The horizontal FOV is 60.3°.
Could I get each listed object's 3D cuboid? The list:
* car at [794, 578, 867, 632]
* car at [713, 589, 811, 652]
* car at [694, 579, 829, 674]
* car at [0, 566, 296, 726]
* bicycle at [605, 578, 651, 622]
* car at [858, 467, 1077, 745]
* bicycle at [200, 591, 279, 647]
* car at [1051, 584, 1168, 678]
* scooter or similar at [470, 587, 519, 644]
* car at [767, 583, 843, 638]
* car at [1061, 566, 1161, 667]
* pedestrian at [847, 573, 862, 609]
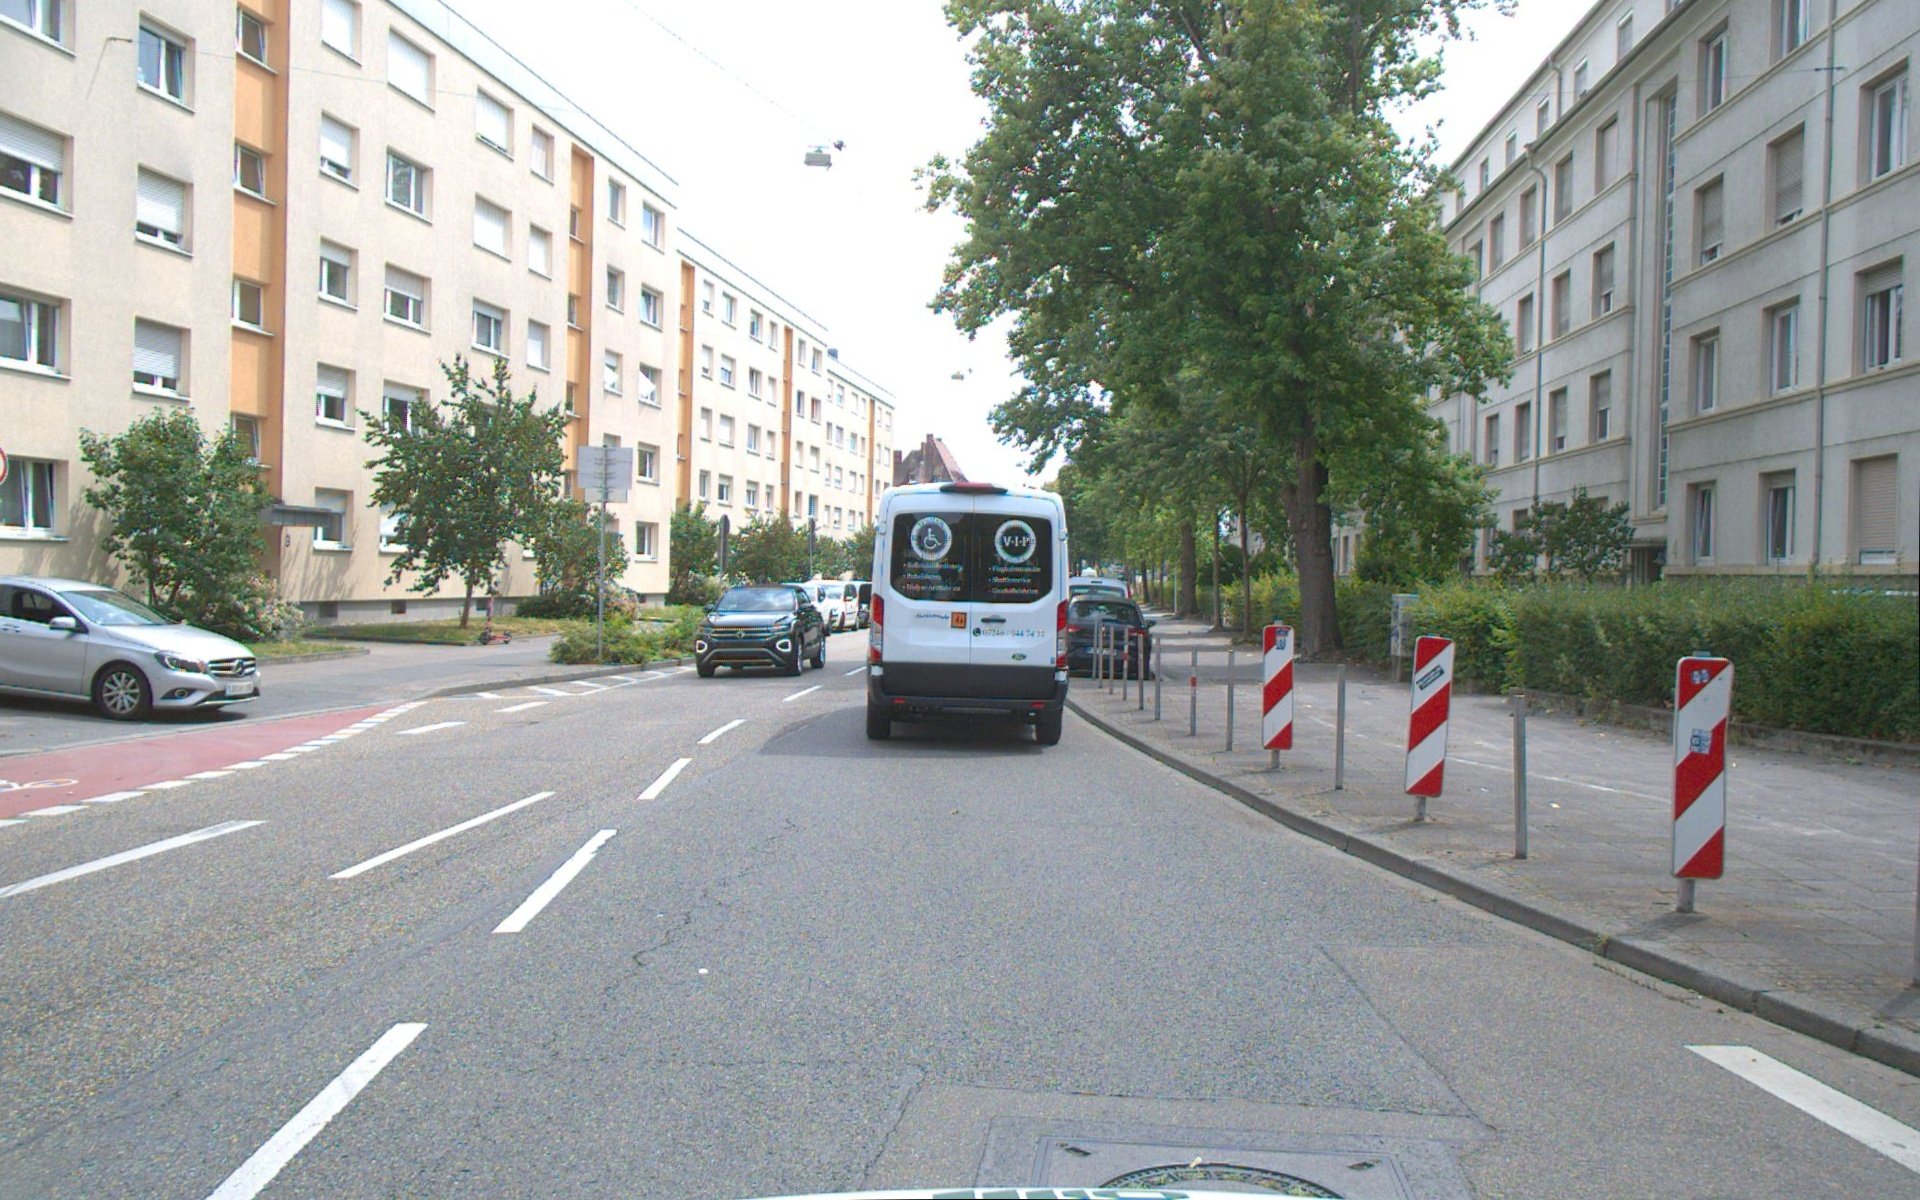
[{"bbox_3d":[-4.222,0.146,54.547,1.662,1.640,4.480,3,1,4],"label":"car"},{"bbox_3d":[-5.187,0.508,43.771,1.672,1.498,3.992,3,1,6],"label":"car"},{"bbox_3d":[-3.402,0.405,28.976,1.662,1.544,4.002,0,1,3],"label":"car"},{"bbox_3d":[-10.135,0.469,19.145,4.084,1.475,1.851,5,1,8],"label":"car"},{"bbox_3d":[-10.074,-0.012,50.302,0.566,1.273,1.935,2,1,15],"label":"bicycle"},{"bbox_3d":[0.171,0.051,17.807,2.027,2.585,4.636,1,0,2],"label":"car"},{"bbox_3d":[-14.015,0.353,32.210,0.402,1.056,1.806,1,0,13],"label":"bicycle"},{"bbox_3d":[2.668,0.496,29.465,1.877,1.469,4.241,2,1,5],"label":"car"},{"bbox_3d":[-10.278,0.340,36.537,0.393,1.214,1.291,3,0,15],"label":"scooter or similar"},{"bbox_3d":[-4.591,0.288,49.425,1.673,1.498,3.991,3,1,3],"label":"car"},{"bbox_3d":[3.218,0.311,35.198,1.877,1.898,4.849,3,1,5],"label":"car"},{"bbox_3d":[-5.471,-0.451,85.538,0.607,1.844,0.899,2,0,2],"label":"pedestrian"}]
